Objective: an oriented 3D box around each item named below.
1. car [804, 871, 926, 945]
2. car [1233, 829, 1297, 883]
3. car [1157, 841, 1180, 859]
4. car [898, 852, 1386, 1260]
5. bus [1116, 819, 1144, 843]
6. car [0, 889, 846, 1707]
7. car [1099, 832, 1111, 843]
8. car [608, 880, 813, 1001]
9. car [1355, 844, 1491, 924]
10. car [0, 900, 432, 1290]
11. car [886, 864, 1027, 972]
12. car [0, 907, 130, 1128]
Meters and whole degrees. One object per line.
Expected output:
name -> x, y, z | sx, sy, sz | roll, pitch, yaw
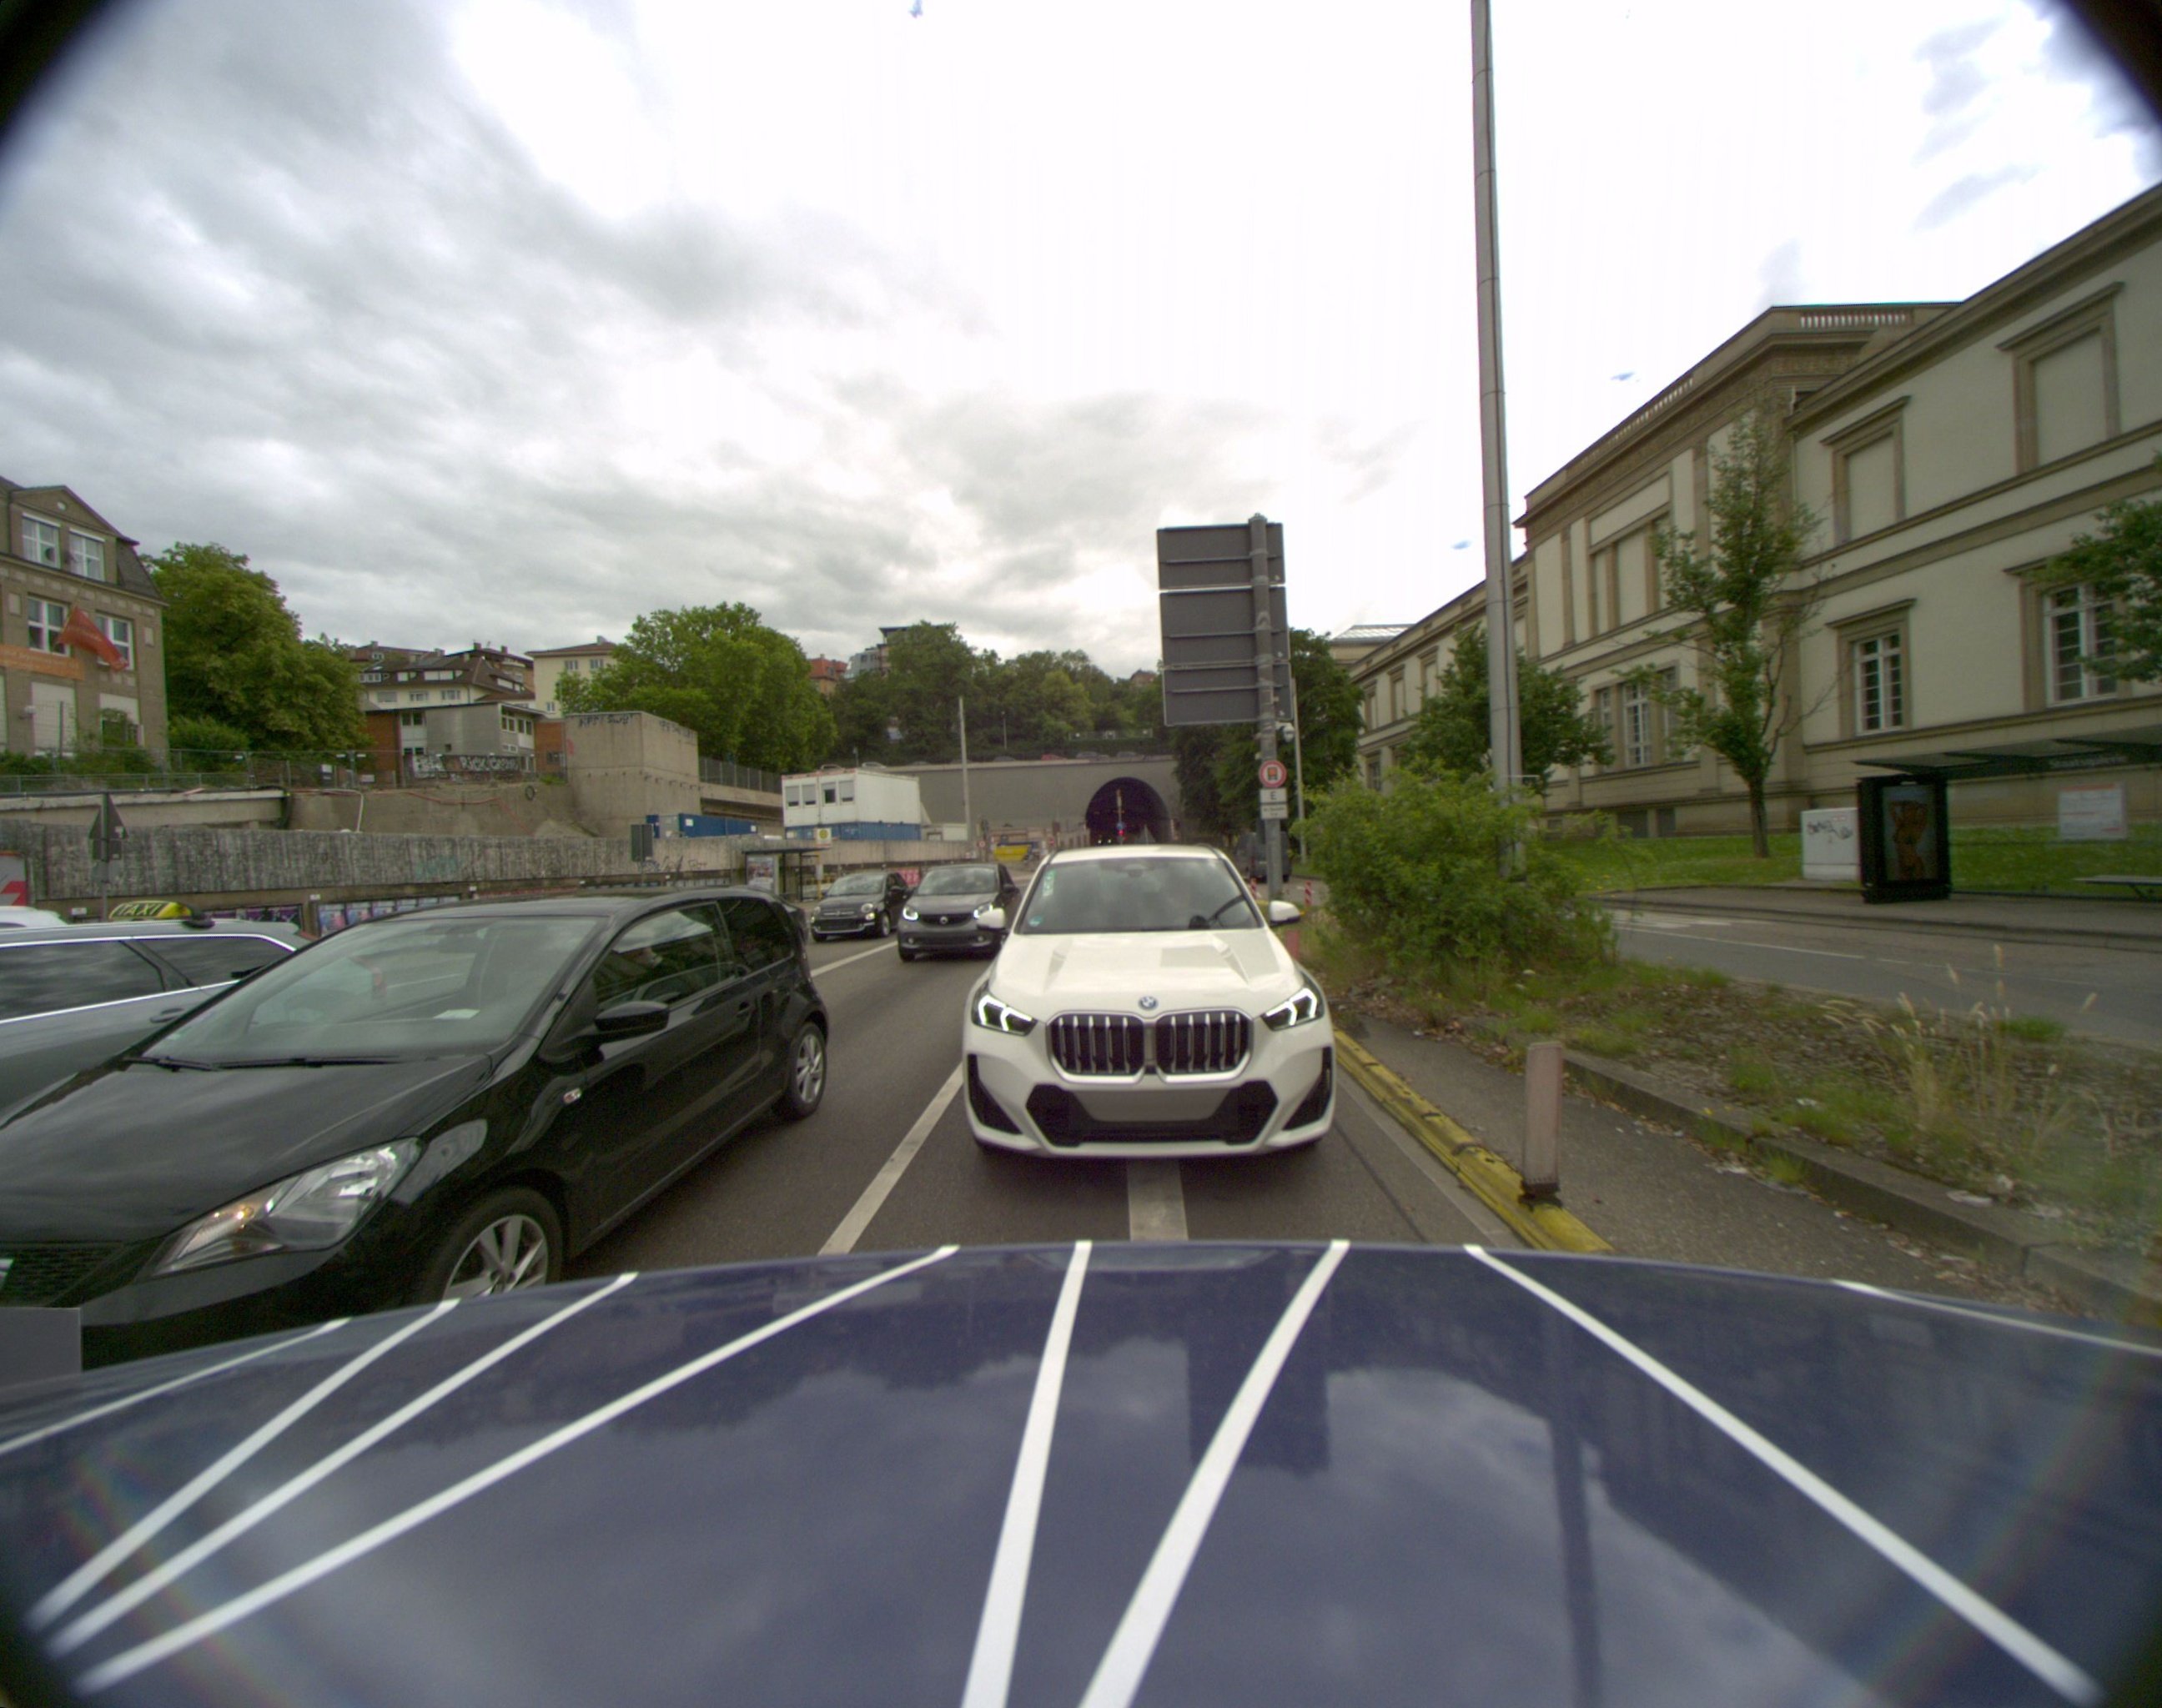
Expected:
car -> -4.915, 1.169, 17.806 | 1.680, 1.358, 3.806 | -2, 1, 1
car -> 9.264, 0.067, 38.744 | 2.203, 2.493, 4.758 | -2, 1, 2
car -> 8.660, -0.400, 75.442 | 1.946, 1.714, 4.000 | -2, 1, 4
car -> 0.282, 0.851, 5.019 | 1.987, 1.615, 3.670 | -2, 1, 1
bus -> 6.972, -3.283, 109.190 | 3.171, 3.129, 9.118 | -2, 1, -1
car -> -2.569, 1.022, 3.336 | 1.829, 1.450, 3.700 | -2, 1, 1
car -> 3.507, -2.330, 109.628 | 1.680, 1.450, 3.807 | -2, 1, 3
car -> -5.392, 1.196, 11.424 | 1.665, 1.423, 2.714 | -2, 1, 1
car -> 7.874, 0.618, 17.882 | 1.777, 1.609, 3.804 | -2, 1, 6
car -> -5.854, 1.211, 3.297 | 1.829, 1.615, 4.808 | -2, 1, 1
car -> -2.004, 0.986, 13.251 | 1.720, 1.535, 3.575 | -2, 0, 2
car -> -9.104, 1.323, 4.439 | 1.680, 1.615, 4.209 | -2, 1, 1
